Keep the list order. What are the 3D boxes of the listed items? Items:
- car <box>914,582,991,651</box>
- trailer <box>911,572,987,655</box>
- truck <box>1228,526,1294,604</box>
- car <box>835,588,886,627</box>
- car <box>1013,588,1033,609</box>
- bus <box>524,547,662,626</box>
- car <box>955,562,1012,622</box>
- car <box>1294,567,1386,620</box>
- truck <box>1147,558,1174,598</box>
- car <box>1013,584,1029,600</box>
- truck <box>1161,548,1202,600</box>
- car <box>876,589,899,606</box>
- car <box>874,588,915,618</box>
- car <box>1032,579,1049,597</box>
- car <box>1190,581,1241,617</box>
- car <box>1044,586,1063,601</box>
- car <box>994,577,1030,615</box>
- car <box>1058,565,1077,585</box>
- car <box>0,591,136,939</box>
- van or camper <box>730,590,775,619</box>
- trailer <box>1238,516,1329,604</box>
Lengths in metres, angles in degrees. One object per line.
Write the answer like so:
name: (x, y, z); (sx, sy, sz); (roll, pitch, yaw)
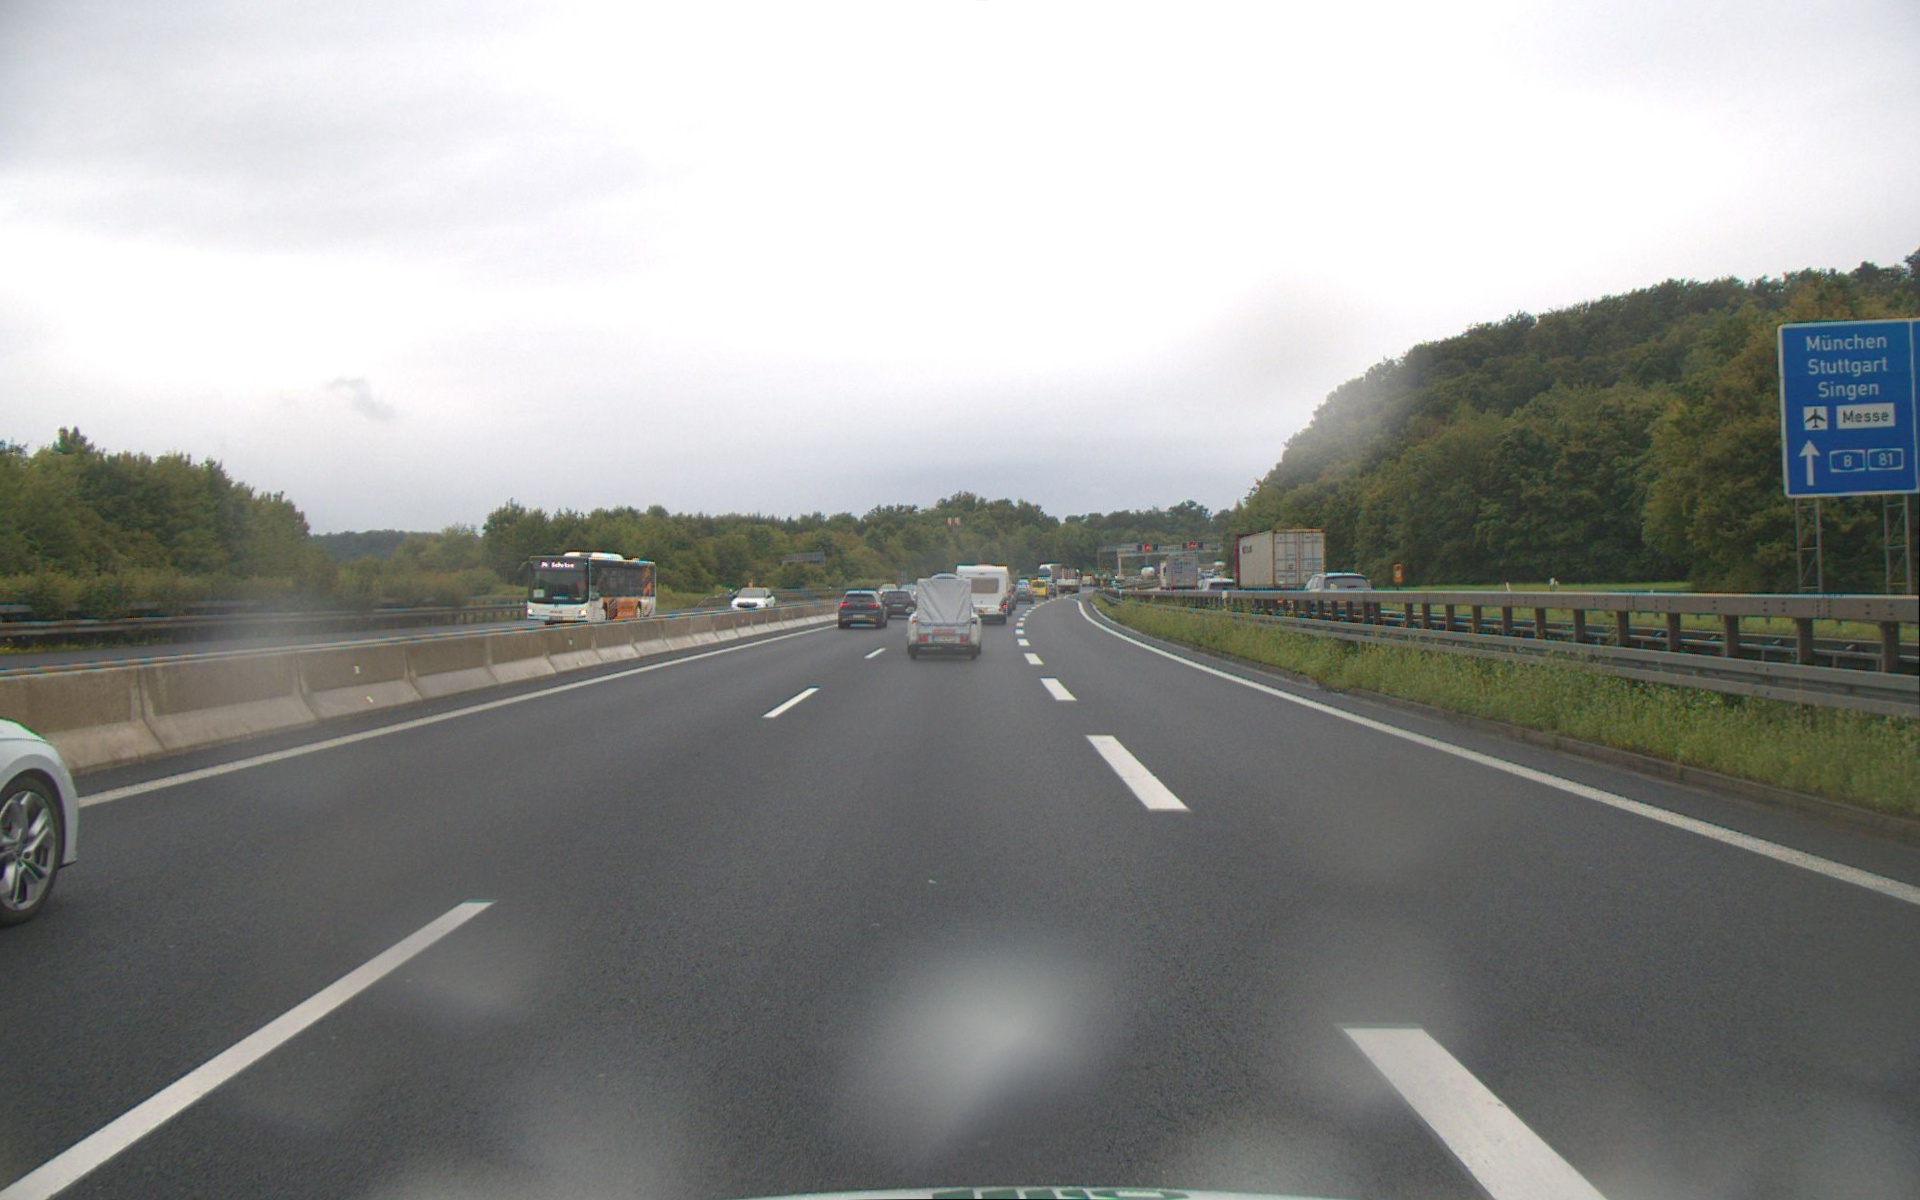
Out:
car: (-0.135, 0.403, 42.264); (1.781, 1.644, 4.779); (0, 0, 2)
trailer: (-0.212, 0.302, 38.780); (1.641, 1.844, 4.001); (0, 0, 1)
truck: (15.915, -1.771, 87.761); (2.561, 3.952, 6.394); (0, 0, 2)
car: (-3.920, 0.280, 65.793); (1.641, 1.481, 4.001); (0, 0, 2)
car: (5.576, -0.122, 145.764); (1.641, 1.844, 4.000); (0, 0, 0)
bus: (-15.446, -0.537, 70.688); (2.642, 3.010, 11.902); (-2, 0, 3)
car: (1.123, -0.341, 75.604); (2.455, 2.630, 5.701); (0, 0, 2)
car: (11.037, -0.189, 48.287); (1.633, 1.407, 4.125); (-2, 0, -1)
truck: (24.801, -2.595, 204.576); (3.147, 4.748, 13.042); (-1, 0, 7)
car: (7.909, -1.030, 215.079); (1.952, 2.049, 4.002); (0, 0, 3)
truck: (21.169, -2.411, 158.819); (3.148, 4.748, 13.039); (0, 0, 4)
car: (-7.676, -0.248, 175.026); (1.852, 1.679, 4.605); (0, 0, 5)
car: (-3.320, 0.130, 84.511); (1.728, 1.481, 4.001); (0, 0, 3)
car: (8.464, -1.278, 173.734); (1.640, 1.844, 4.002); (0, 0, 4)
car: (11.938, -0.032, 77.465); (1.733, 1.638, 4.644); (0, 0, 1)
car: (10.928, -0.801, 193.836); (1.994, 1.712, 4.003); (-1, 0, 6)
car: (3.044, -0.231, 95.851); (1.640, 2.103, 4.003); (-1, 0, 8)
car: (14.747, -3.395, 227.536); (2.462, 2.620, 5.315); (0, 0, 5)
car: (-4.972, 0.709, 5.855); (1.781, 1.481, 4.777); (0, 0, -1)
van or camper: (-10.742, 0.227, 85.716); (1.712, 1.473, 4.586); (0, 0, 0)
trailer: (15.626, -1.790, 80.794); (2.550, 3.962, 12.494); (0, 0, 3)
